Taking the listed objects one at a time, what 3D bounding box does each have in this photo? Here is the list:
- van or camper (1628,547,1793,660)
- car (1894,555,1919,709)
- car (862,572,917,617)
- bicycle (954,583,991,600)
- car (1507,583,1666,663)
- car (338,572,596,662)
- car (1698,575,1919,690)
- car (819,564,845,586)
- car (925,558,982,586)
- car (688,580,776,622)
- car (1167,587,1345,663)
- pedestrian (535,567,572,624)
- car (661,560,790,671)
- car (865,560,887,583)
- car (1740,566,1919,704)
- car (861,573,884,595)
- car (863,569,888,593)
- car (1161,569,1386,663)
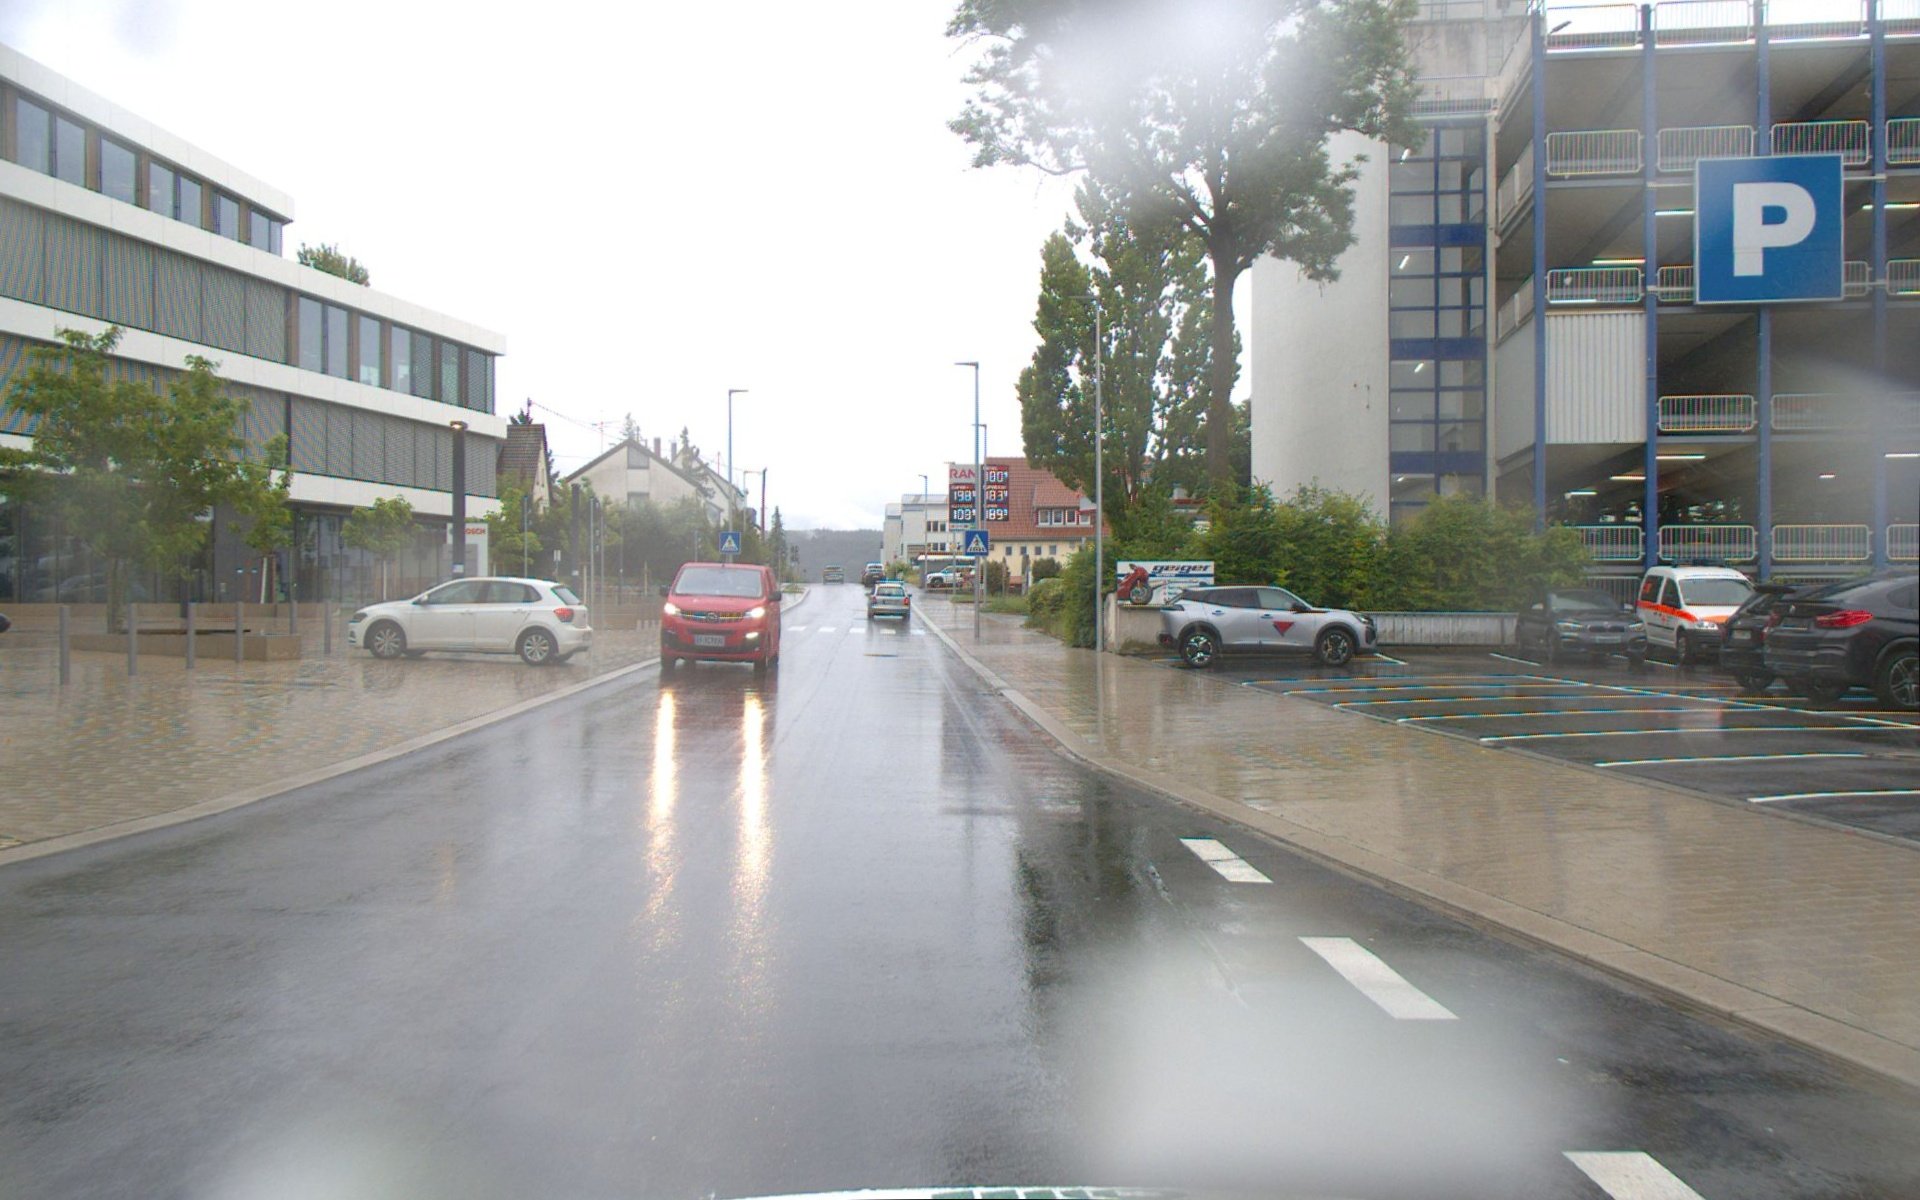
[{"bbox_3d":[14.755,0.048,32.771,1.798,2.072,4.465,1,0,8],"label":"van or camper"},{"bbox_3d":[12.724,0.356,17.904,4.267,1.687,1.785,0,0,-3],"label":"car"},{"bbox_3d":[-2.902,-0.190,67.172,1.911,1.583,3.995,4,-1,-5],"label":"car"},{"bbox_3d":[0.862,-0.592,116.950,0.662,1.085,3.586,5,-2,-34],"label":"bicycle"},{"bbox_3d":[12.267,0.414,32.670,1.892,1.467,4.209,1,0,5],"label":"car"},{"bbox_3d":[-8.332,0.284,28.241,3.849,1.448,1.897,1,0,-2],"label":"car"},{"bbox_3d":[12.436,0.440,23.015,3.613,1.526,1.641,1,0,-3],"label":"car"},{"bbox_3d":[-11.680,-2.291,150.877,2.111,1.735,3.997,4,-1,-3],"label":"car"},{"bbox_3d":[-0.506,-2.066,123.511,4.034,1.735,1.786,4,-2,-6],"label":"car"},{"bbox_3d":[-13.227,0.048,95.820,4.678,2.049,1.990,5,-2,-17],"label":"car"},{"bbox_3d":[6.149,0.507,34.692,3.544,1.521,1.807,-1,0,6],"label":"car"},{"bbox_3d":[-12.935,-0.147,52.655,0.993,1.754,0.771,1,0,-6],"label":"pedestrian"},{"bbox_3d":[-4.193,0.252,30.281,1.963,1.849,4.975,1,0,-4],"label":"car"},{"bbox_3d":[-7.398,-2.511,145.682,1.747,1.735,3.997,4,-1,-3],"label":"car"},{"bbox_3d":[12.056,0.394,20.173,4.270,1.586,1.838,0,0,-5],"label":"car"},{"bbox_3d":[-8.077,-1.456,152.081,1.954,1.735,3.997,4,-1,-3],"label":"car"},{"bbox_3d":[-7.137,-1.558,138.939,1.954,1.735,3.997,4,-1,-3],"label":"car"},{"bbox_3d":[5.989,0.303,32.024,4.118,1.678,2.002,-1,0,7],"label":"car"}]
